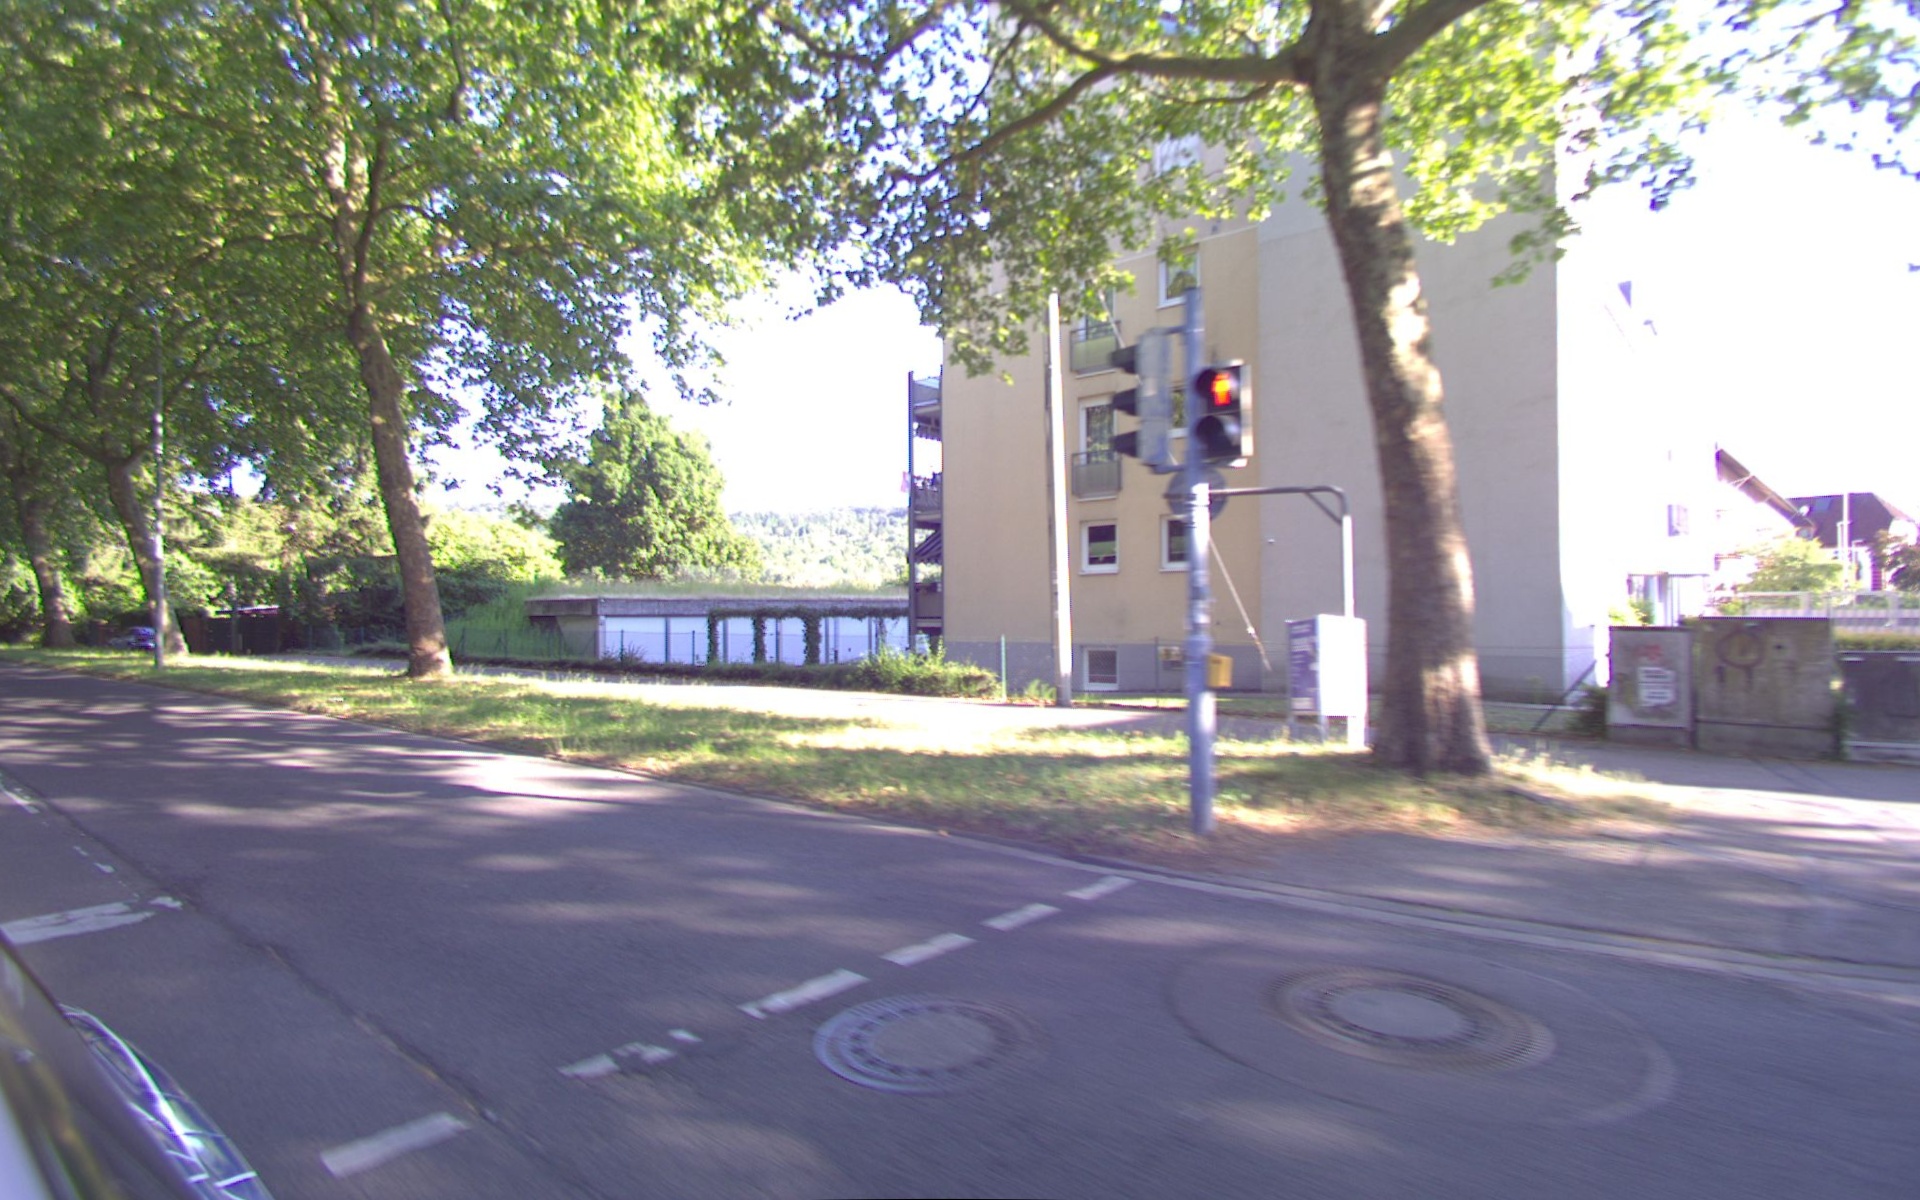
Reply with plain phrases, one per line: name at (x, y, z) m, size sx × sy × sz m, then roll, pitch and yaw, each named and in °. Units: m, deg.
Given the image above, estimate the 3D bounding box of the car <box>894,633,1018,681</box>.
car at (-0.166, 1.973, 35.820) m, size 4.111 × 1.558 × 1.866 m, roll -1°, pitch -2°, yaw 37°

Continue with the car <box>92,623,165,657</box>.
car at (-40.215, 1.911, 48.906) m, size 3.992 × 1.541 × 1.792 m, roll -1°, pitch -2°, yaw 36°
